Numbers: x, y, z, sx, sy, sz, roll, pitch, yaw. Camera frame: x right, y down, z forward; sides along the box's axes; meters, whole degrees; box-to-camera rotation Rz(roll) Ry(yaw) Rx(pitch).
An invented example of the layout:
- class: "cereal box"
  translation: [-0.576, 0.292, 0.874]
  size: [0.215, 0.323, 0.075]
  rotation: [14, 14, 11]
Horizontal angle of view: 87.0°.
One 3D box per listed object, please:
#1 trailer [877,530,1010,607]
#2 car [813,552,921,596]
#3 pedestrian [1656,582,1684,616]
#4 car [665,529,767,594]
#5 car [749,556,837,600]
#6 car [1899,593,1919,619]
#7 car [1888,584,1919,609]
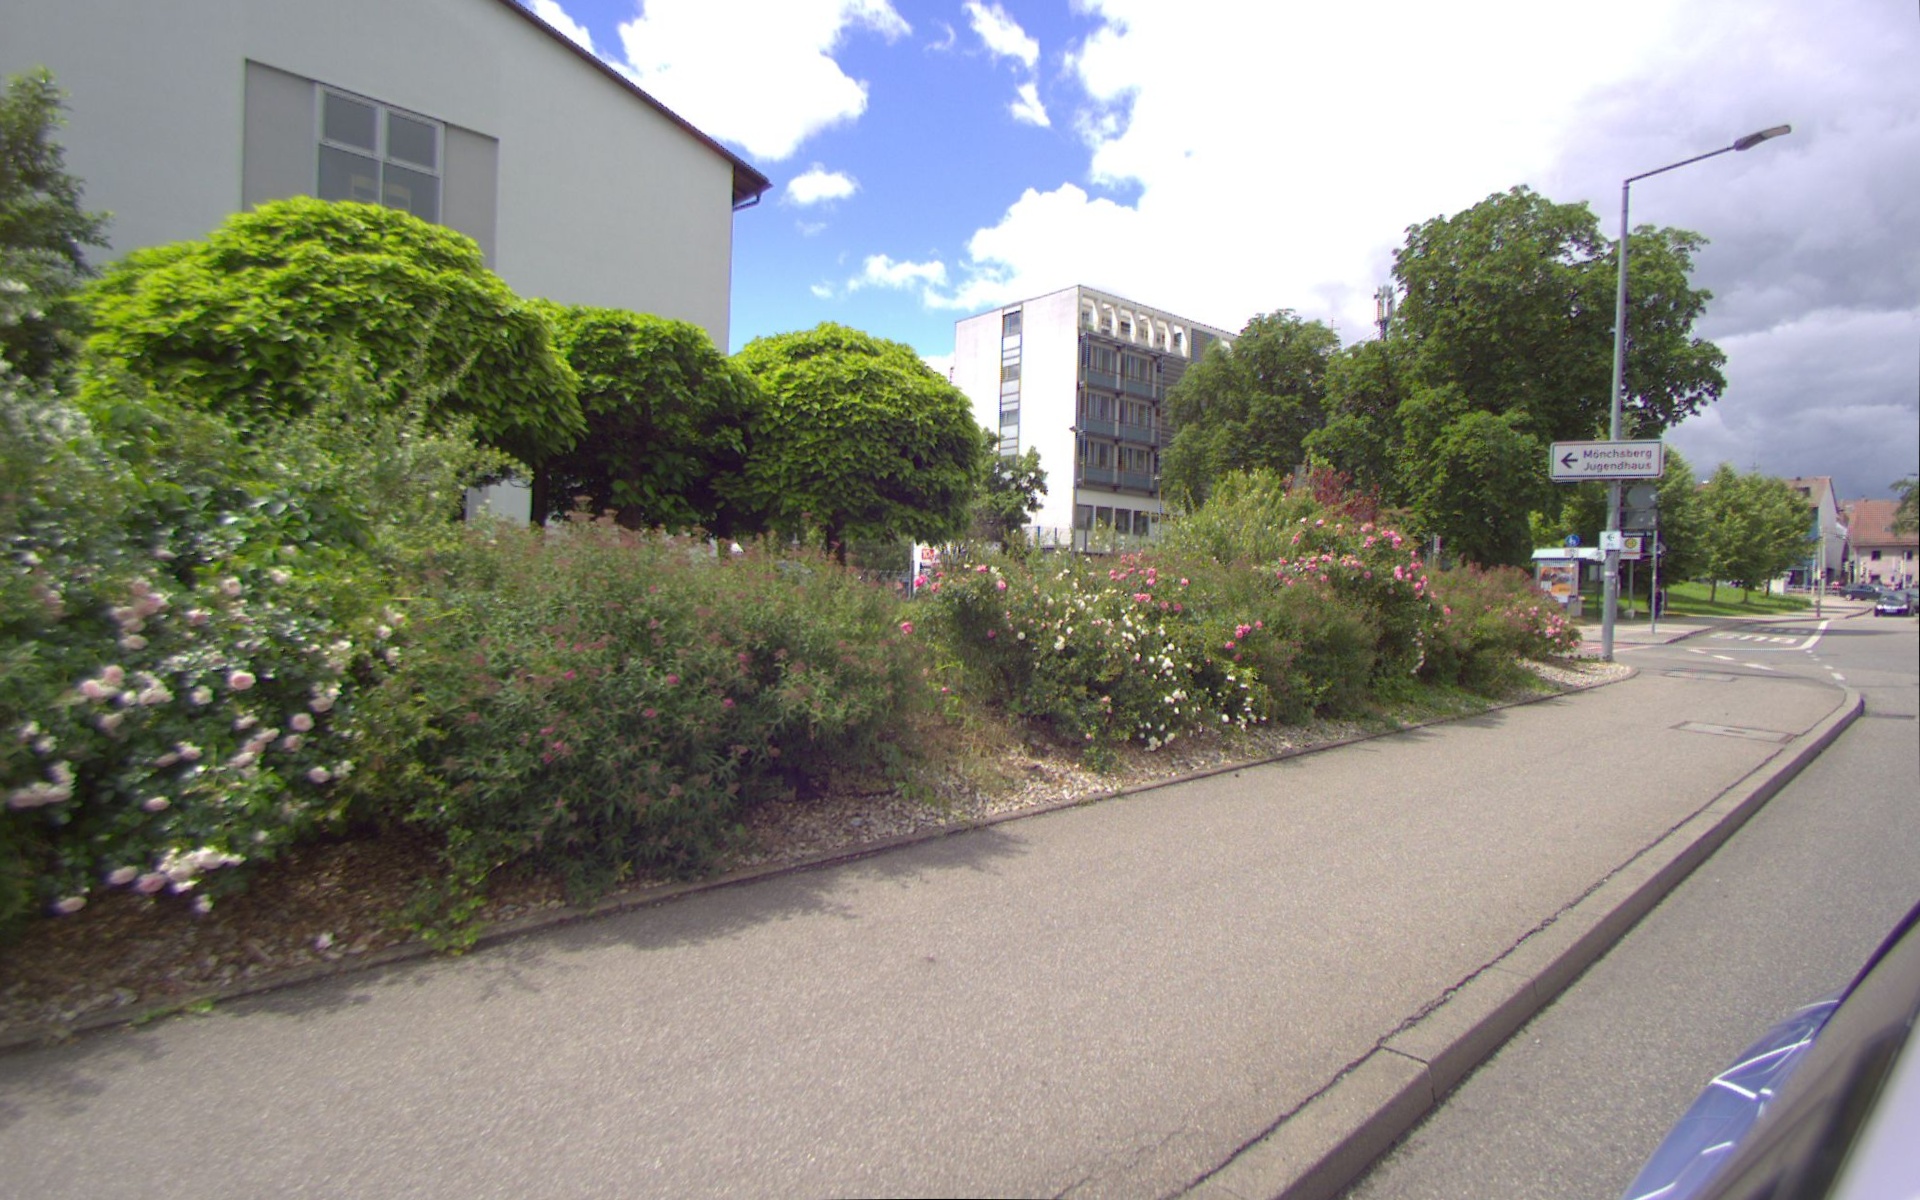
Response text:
- class: "trailer"
  translation: [-0.632, -1.083, 35.860]
  size: [2.184, 2.518, 4.541]
  rotation: [2, 0, -44]
- class: "car"
  translation: [-3.631, -1.013, 39.049]
  size: [1.967, 1.521, 4.085]
  rotation: [2, 2, -44]
- class: "pedestrian"
  translation: [31.180, -0.051, 44.458]
  size: [0.816, 1.442, 0.821]
  rotation: [-1, 2, -42]
- class: "car"
  translation: [-11.532, -1.820, 47.550]
  size: [2.167, 2.901, 5.585]
  rotation: [0, 2, -42]
- class: "car"
  translation: [-7.117, -0.946, 42.888]
  size: [1.875, 1.744, 3.994]
  rotation: [0, 2, -41]
- class: "car"
  translation: [65.963, 0.435, 69.357]
  size: [4.344, 1.670, 1.996]
  rotation: [2, 0, -43]
- class: "car"
  translation: [60.863, -0.213, 64.791]
  size: [3.932, 1.447, 1.879]
  rotation: [2, 0, -43]
